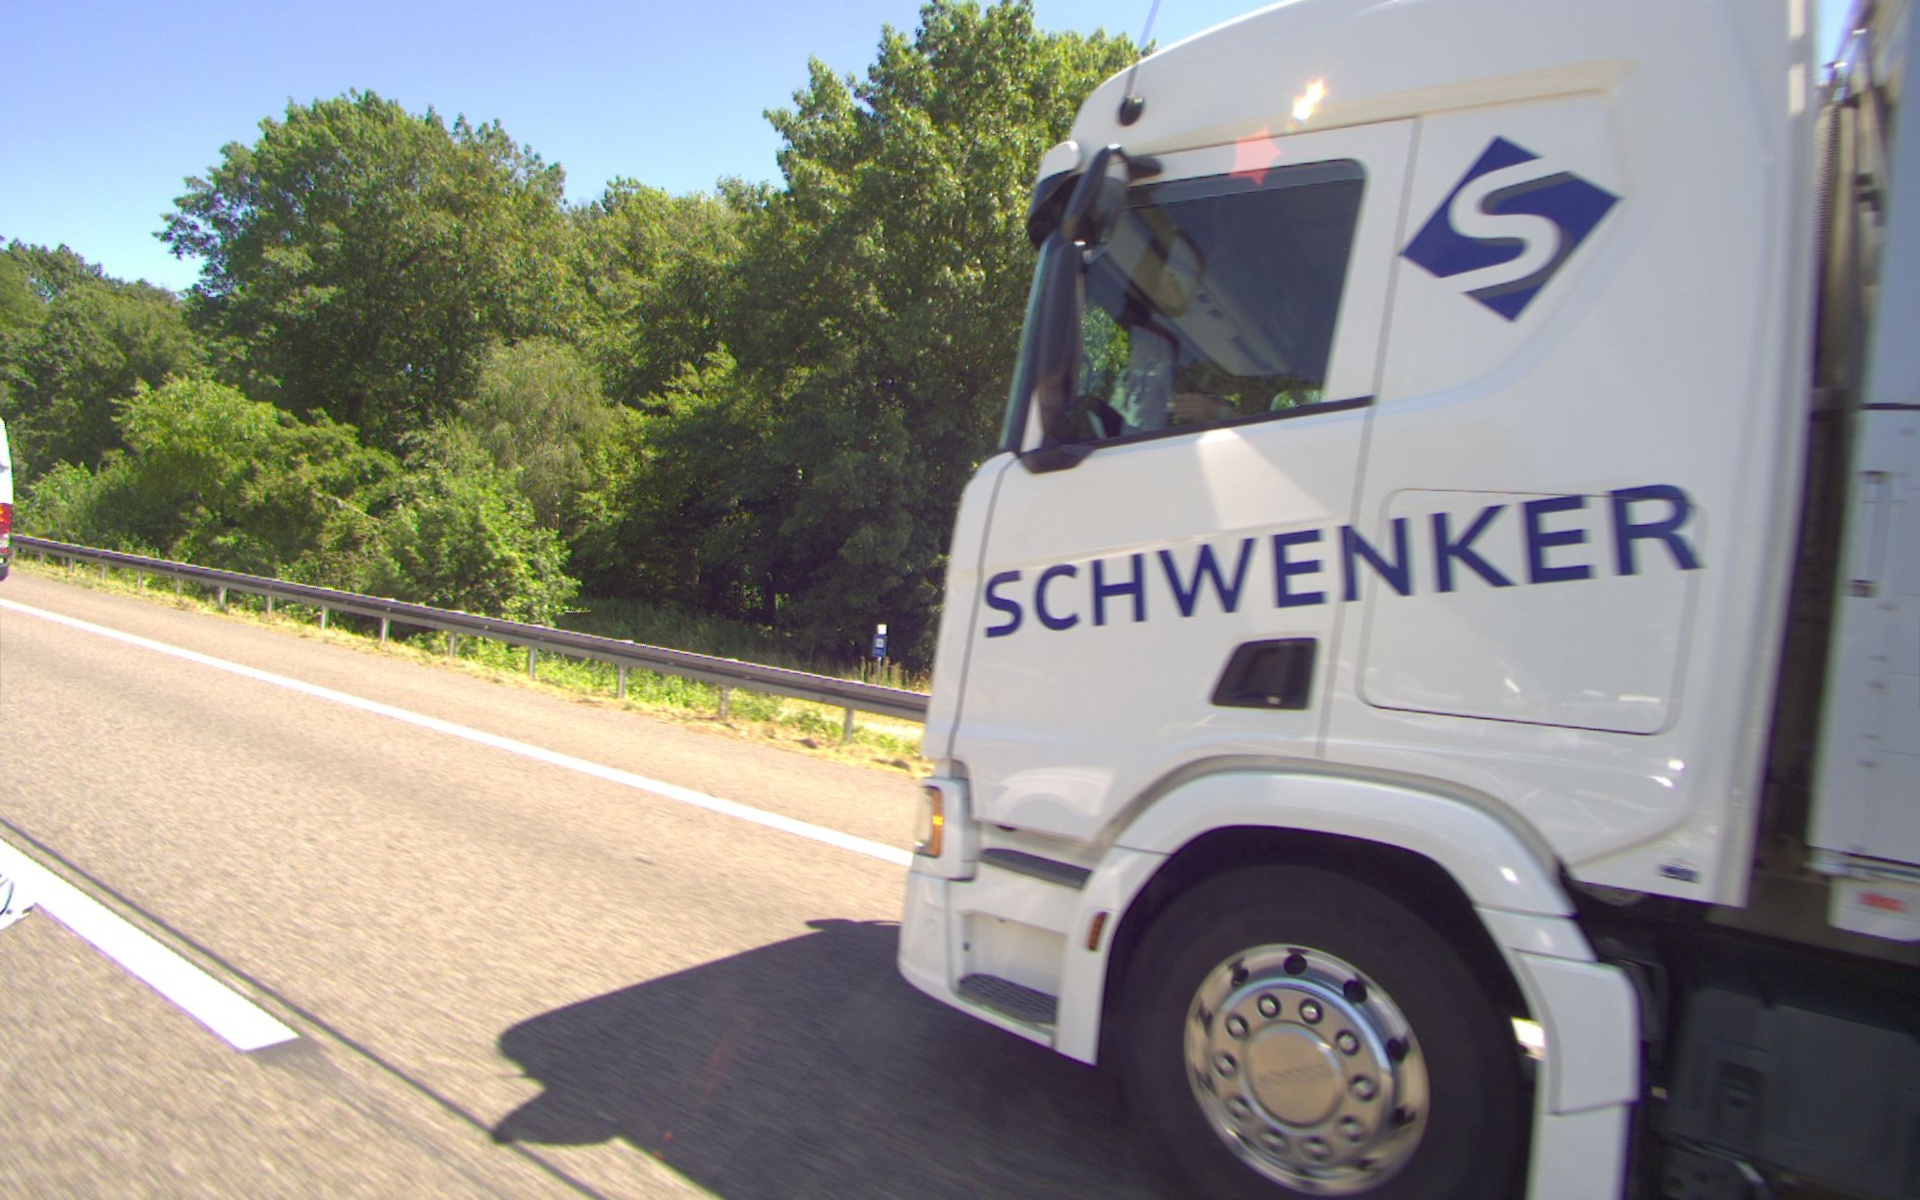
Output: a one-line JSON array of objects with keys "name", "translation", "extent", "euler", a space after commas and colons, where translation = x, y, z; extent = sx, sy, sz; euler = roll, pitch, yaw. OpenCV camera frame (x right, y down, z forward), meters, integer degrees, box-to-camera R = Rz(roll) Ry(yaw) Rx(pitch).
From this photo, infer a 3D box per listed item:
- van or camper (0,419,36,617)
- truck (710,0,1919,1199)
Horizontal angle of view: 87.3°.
[{"name": "van or camper", "translation": [-16.189, -1.493, 14.732], "extent": [6.379, 2.668, 2.026], "euler": [6, -1, 31]}, {"name": "truck", "translation": [3.010, -0.116, 2.769], "extent": [6.757, 4.077, 2.894], "euler": [6, -2, 32]}]
